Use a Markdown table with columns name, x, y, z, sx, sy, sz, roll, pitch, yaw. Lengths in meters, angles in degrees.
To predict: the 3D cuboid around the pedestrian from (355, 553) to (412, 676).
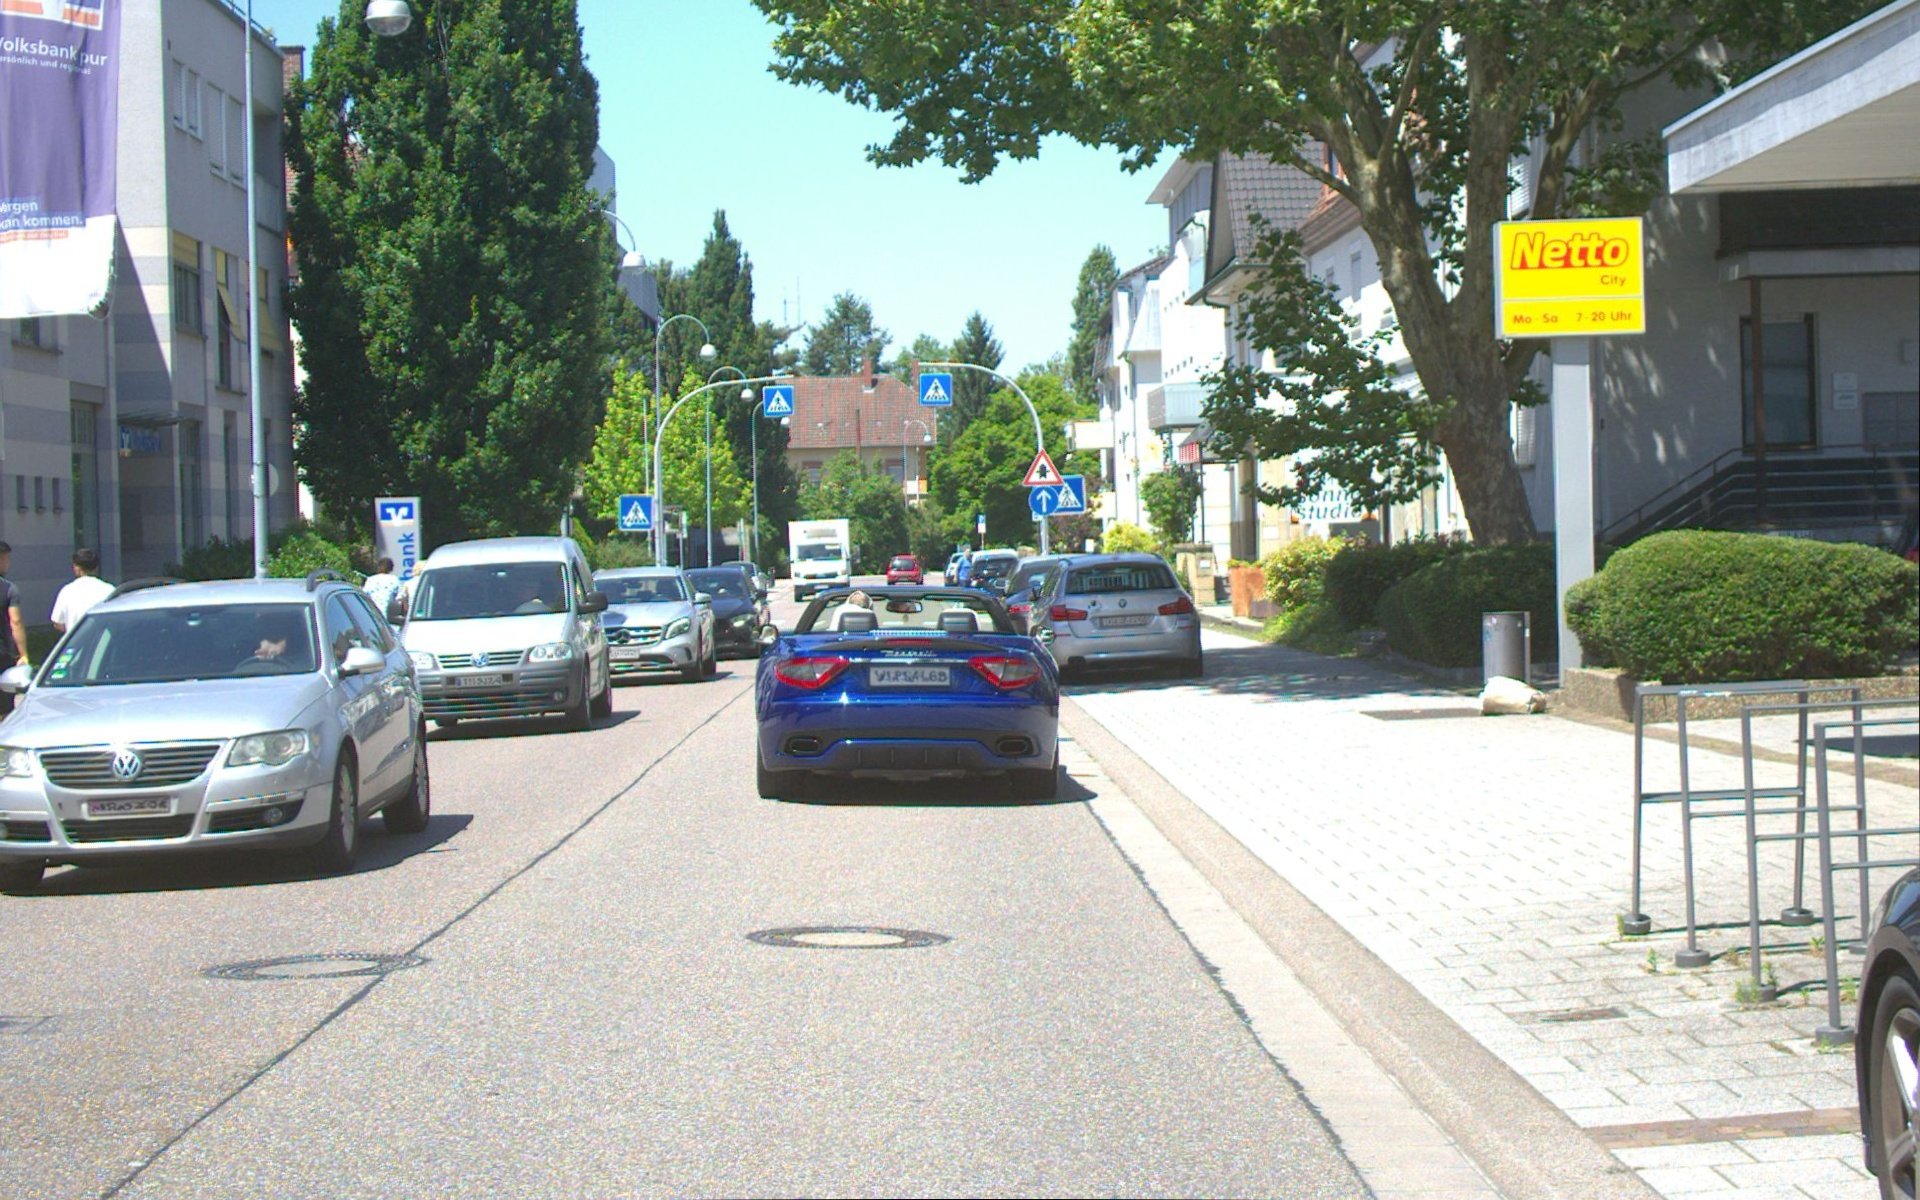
| name | x | y | z | sx | sy | sz | roll | pitch | yaw |
| --- | --- | --- | --- | --- | --- | --- | --- | --- | --- |
| pedestrian | -7.498 | 0.177 | 44.706 | 0.587 | 1.569 | 0.781 | -1 | 1 | -2 |

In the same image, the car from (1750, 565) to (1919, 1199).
| name | x | y | z | sx | sy | sz | roll | pitch | yaw |
| --- | --- | --- | --- | --- | --- | --- | --- | --- | --- |
| car | 2.629 | 0.616 | 5.122 | 1.845 | 1.409 | 4.163 | -3 | 0 | -1 |

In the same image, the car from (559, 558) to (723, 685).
| name | x | y | z | sx | sy | sz | roll | pitch | yaw |
| --- | --- | --- | --- | --- | --- | --- | --- | --- | --- |
| car | -4.085 | 0.244 | 44.537 | 1.769 | 1.471 | 4.138 | -3 | 1 | -1 |

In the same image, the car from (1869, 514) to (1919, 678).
| name | x | y | z | sx | sy | sz | roll | pitch | yaw |
| --- | --- | --- | --- | --- | --- | --- | --- | --- | --- |
| car | 9.958 | -0.134 | 29.506 | 1.843 | 1.448 | 4.000 | -4 | 0 | -28 |

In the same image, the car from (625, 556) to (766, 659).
| name | x | y | z | sx | sy | sz | roll | pitch | yaw |
| --- | --- | --- | --- | --- | --- | --- | --- | --- | --- |
| car | -4.151 | 0.089 | 54.526 | 1.950 | 1.471 | 4.138 | -3 | 1 | -1 |

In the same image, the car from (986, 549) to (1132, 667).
| name | x | y | z | sx | sy | sz | roll | pitch | yaw |
| --- | --- | --- | --- | --- | --- | --- | --- | --- | --- |
| car | 1.474 | 0.089 | 52.607 | 1.976 | 1.551 | 4.349 | -3 | 2 | -1 |

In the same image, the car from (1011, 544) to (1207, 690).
| name | x | y | z | sx | sy | sz | roll | pitch | yaw |
| --- | --- | --- | --- | --- | --- | --- | --- | --- | --- |
| car | 1.689 | 0.155 | 40.361 | 1.976 | 1.445 | 4.349 | -3 | 2 | -1 |

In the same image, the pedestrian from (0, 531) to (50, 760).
| name | x | y | z | sx | sy | sz | roll | pitch | yaw |
| --- | --- | --- | --- | --- | --- | --- | --- | --- | --- |
| pedestrian | -7.588 | 0.354 | 26.559 | 0.885 | 1.743 | 0.818 | 0 | -1 | 0 |

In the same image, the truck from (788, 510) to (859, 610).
| name | x | y | z | sx | sy | sz | roll | pitch | yaw |
| --- | --- | --- | --- | --- | --- | --- | --- | --- | --- |
| truck | -5.101 | -1.501 | 127.634 | 2.420 | 3.470 | 7.004 | -3 | 1 | -3 |

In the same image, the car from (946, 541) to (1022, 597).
| name | x | y | z | sx | sy | sz | roll | pitch | yaw |
| --- | --- | --- | --- | --- | --- | --- | --- | --- | --- |
| car | 0.658 | -0.894 | 97.299 | 1.950 | 1.471 | 4.138 | -3 | 1 | -1 |

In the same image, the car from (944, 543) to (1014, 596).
| name | x | y | z | sx | sy | sz | roll | pitch | yaw |
| --- | --- | --- | --- | --- | --- | --- | --- | --- | --- |
| car | 0.559 | -0.931 | 104.199 | 1.950 | 1.471 | 4.138 | -3 | 1 | -1 |

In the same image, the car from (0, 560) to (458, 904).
| name | x | y | z | sx | sy | sz | roll | pitch | yaw |
| --- | --- | --- | --- | --- | --- | --- | --- | --- | --- |
| car | -3.972 | 0.612 | 18.138 | 1.949 | 1.503 | 4.796 | -3 | 0 | -1 |

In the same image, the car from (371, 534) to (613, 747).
| name | x | y | z | sx | sy | sz | roll | pitch | yaw |
| --- | --- | --- | --- | --- | --- | --- | --- | --- | --- |
| car | -4.324 | 0.317 | 32.306 | 1.769 | 1.761 | 4.138 | -3 | 2 | -2 |

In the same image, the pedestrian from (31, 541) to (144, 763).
| name | x | y | z | sx | sy | sz | roll | pitch | yaw |
| --- | --- | --- | --- | --- | --- | --- | --- | --- | --- |
| pedestrian | -6.746 | 0.404 | 26.623 | 0.631 | 1.685 | 0.961 | 0 | -1 | -1 |

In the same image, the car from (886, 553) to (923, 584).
| name | x | y | z | sx | sy | sz | roll | pitch | yaw |
| --- | --- | --- | --- | --- | --- | --- | --- | --- | --- |
| car | -2.754 | -1.575 | 170.897 | 1.769 | 1.471 | 4.138 | -1 | 0 | -1 |

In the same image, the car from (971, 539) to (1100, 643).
| name | x | y | z | sx | sy | sz | roll | pitch | yaw |
| --- | --- | --- | --- | --- | --- | --- | --- | --- | --- |
| car | 1.256 | -0.192 | 58.776 | 1.976 | 1.551 | 4.349 | -3 | 2 | -1 |

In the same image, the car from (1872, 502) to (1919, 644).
| name | x | y | z | sx | sy | sz | roll | pitch | yaw |
| --- | --- | --- | --- | --- | --- | --- | --- | --- | --- |
| car | 10.977 | -0.374 | 37.536 | 1.845 | 1.448 | 3.997 | -4 | 0 | 15 |

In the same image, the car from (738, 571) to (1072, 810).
| name | x | y | z | sx | sy | sz | roll | pitch | yaw |
| --- | --- | --- | --- | --- | --- | --- | --- | --- | --- |
| car | -0.401 | 0.512 | 22.630 | 1.976 | 1.393 | 4.627 | 0 | 1 | -2 |
